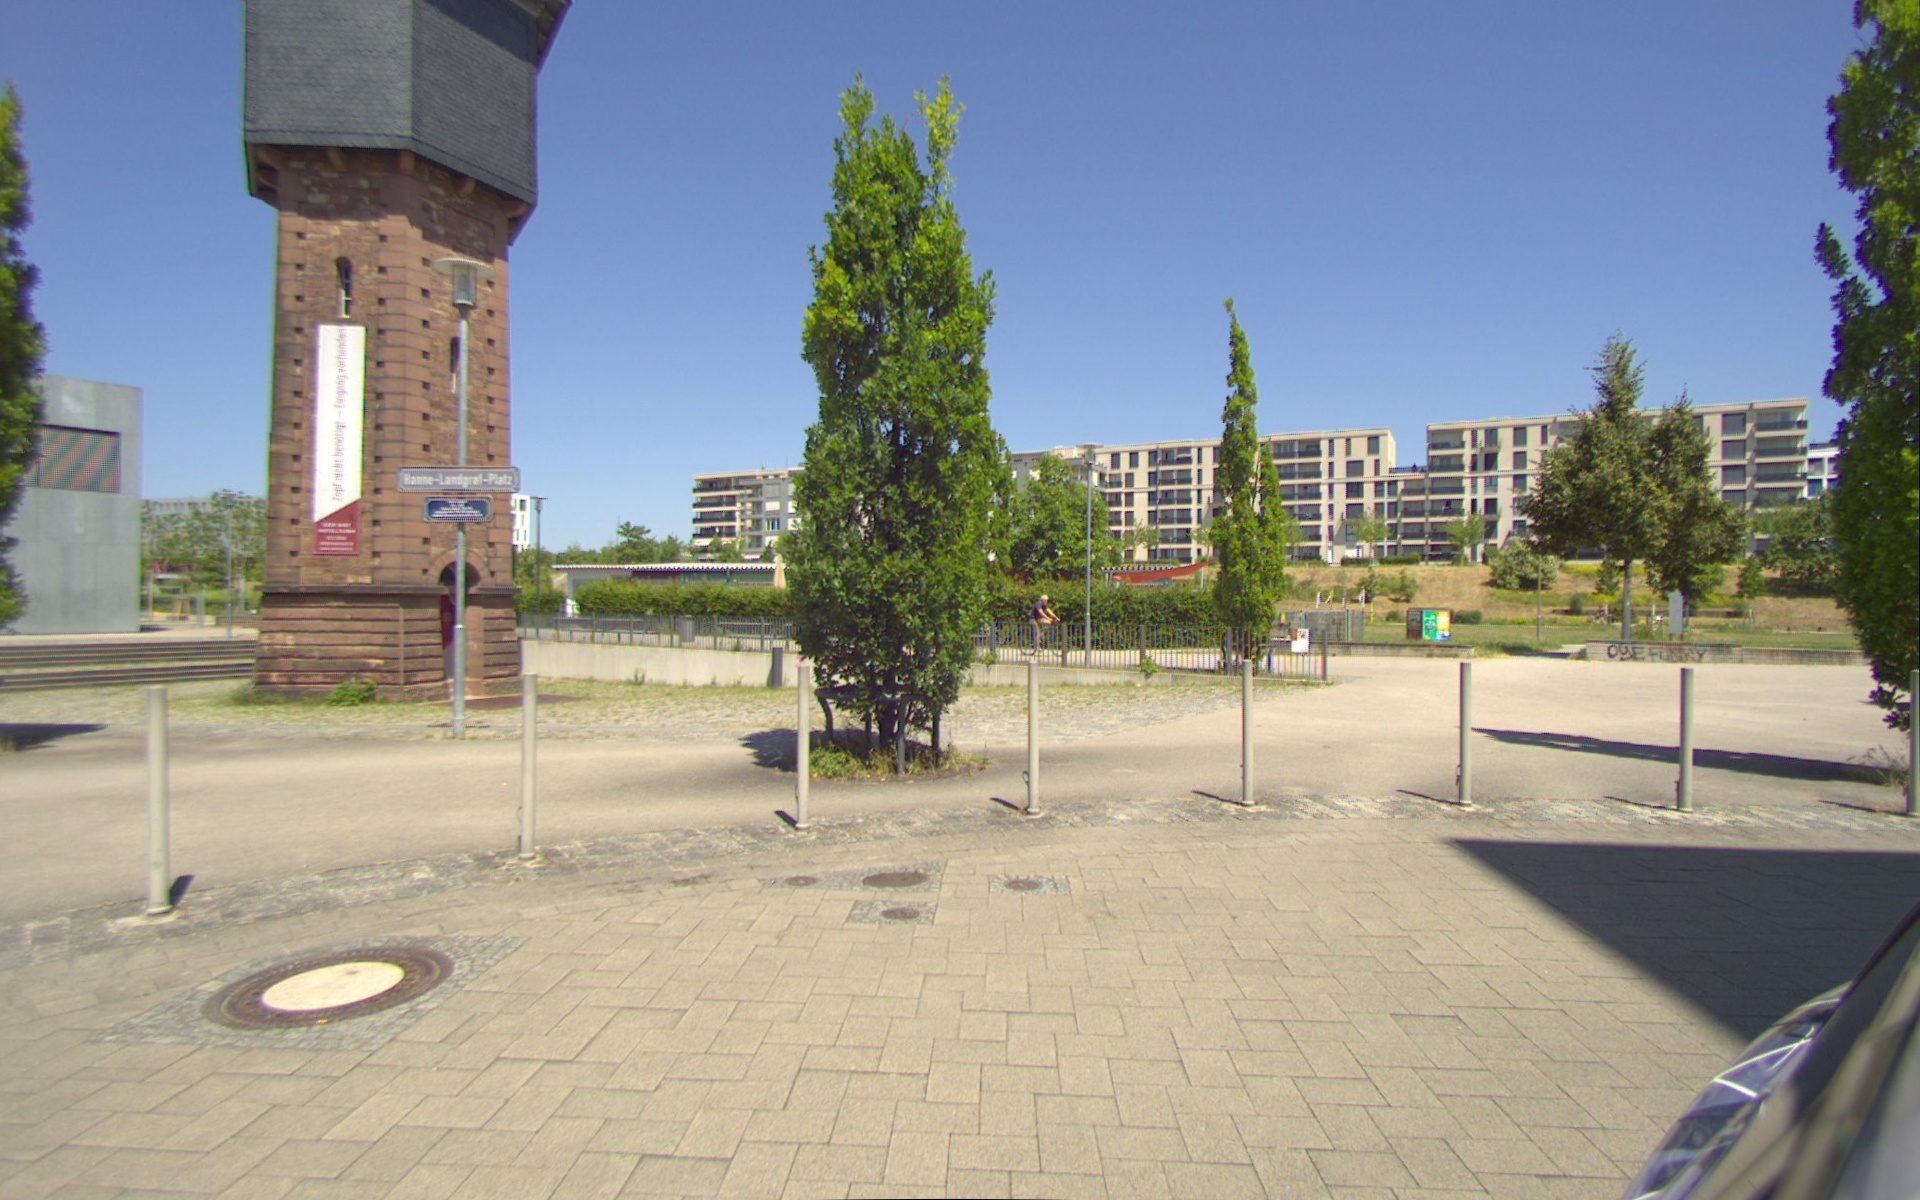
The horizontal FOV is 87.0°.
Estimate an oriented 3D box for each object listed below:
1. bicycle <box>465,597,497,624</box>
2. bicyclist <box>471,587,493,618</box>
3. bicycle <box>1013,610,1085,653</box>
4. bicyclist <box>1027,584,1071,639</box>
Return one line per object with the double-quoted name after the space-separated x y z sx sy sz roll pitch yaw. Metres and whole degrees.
-22.638 0.490 47.808 1.932 1.214 0.582 0 -1 40 "bicycle"
-22.644 0.122 47.906 0.657 1.453 0.723 0 -1 39 "bicyclist"
2.424 0.838 27.750 1.908 1.132 0.787 0 0 43 "bicycle"
2.437 0.309 27.739 0.879 1.474 0.846 0 -1 42 "bicyclist"
